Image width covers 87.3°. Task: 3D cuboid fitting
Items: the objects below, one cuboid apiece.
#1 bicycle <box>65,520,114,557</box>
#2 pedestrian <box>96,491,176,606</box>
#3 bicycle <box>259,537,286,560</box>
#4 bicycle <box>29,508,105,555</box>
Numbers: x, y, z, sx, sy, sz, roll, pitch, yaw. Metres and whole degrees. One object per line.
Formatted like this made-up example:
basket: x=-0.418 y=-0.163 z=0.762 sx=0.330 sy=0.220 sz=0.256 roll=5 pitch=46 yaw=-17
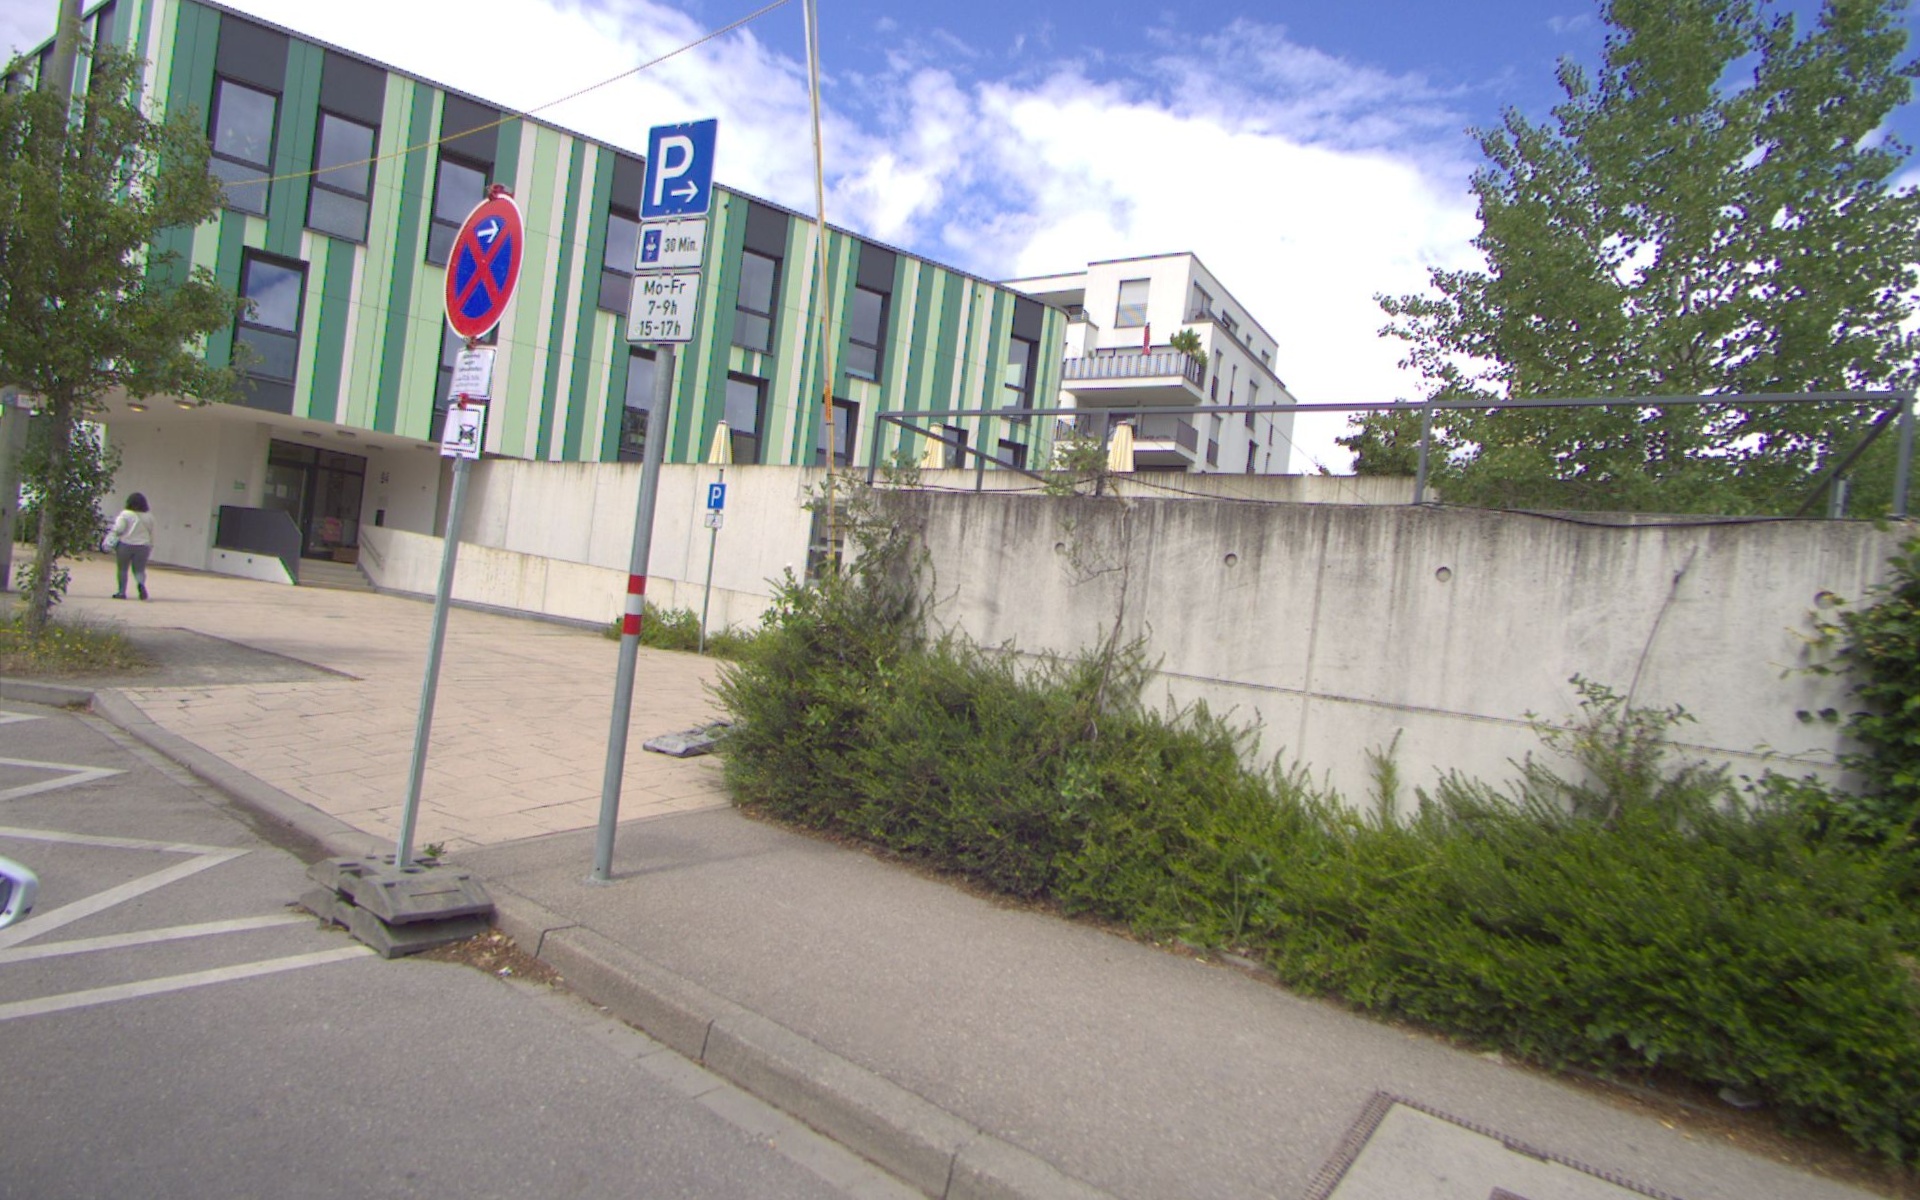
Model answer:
bicycle: x=-22.858 y=-1.605 z=26.436 sx=0.301 sy=0.852 sz=1.025 roll=6 pitch=0 yaw=2
pedestrian: x=-12.119 y=-0.756 z=14.794 sx=0.855 sy=1.571 sz=0.581 roll=6 pitch=1 yaw=34
bicycle: x=-16.582 y=-1.243 z=24.243 sx=0.788 sy=0.458 sz=0.306 roll=7 pitch=1 yaw=40
bicycle: x=-23.825 y=-1.818 z=26.871 sx=0.301 sy=1.059 sz=1.469 roll=7 pitch=0 yaw=22
